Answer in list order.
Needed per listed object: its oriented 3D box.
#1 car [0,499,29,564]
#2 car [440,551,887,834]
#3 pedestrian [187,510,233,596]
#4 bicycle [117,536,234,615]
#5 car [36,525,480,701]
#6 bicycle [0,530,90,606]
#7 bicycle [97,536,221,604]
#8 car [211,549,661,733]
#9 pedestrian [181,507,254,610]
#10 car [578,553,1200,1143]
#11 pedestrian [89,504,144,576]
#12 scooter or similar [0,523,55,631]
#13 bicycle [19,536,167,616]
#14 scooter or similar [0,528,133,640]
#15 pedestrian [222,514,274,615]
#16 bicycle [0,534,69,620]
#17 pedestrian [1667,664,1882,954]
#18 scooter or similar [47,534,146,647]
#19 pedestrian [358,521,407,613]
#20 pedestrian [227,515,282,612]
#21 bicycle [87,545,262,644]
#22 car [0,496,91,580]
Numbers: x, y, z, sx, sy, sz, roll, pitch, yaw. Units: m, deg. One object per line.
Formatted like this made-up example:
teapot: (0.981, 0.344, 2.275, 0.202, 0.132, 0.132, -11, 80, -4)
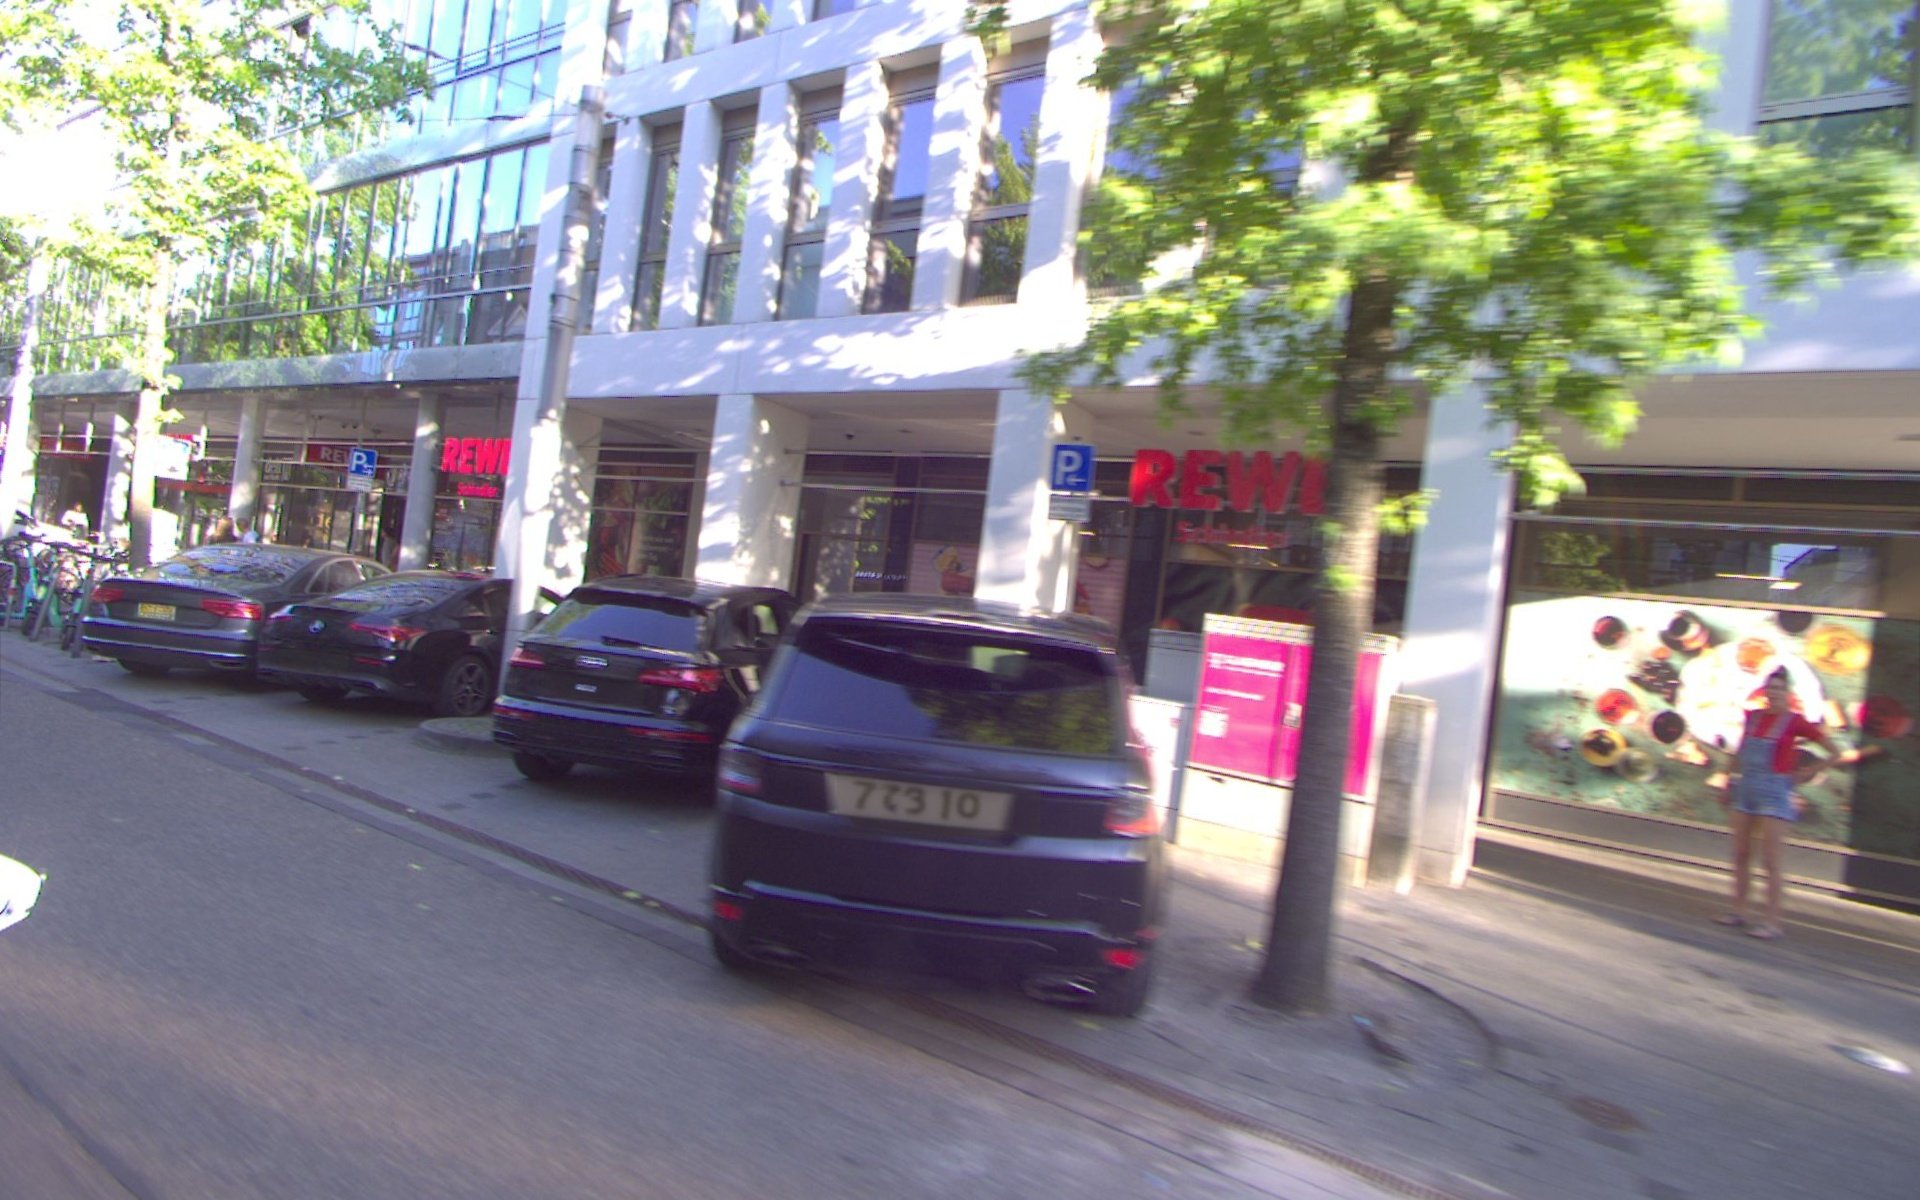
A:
car: (-23.823, -1.745, 22.526, 1.656, 1.518, 4.160, 6, 0, 9)
car: (-2.211, 0.641, 9.123, 1.970, 1.676, 4.668, 7, 0, 8)
pedestrian: (-16.211, -1.006, 21.747, 0.516, 1.773, 0.557, 7, 2, 32)
bicycle: (-13.148, -0.408, 16.910, 0.852, 1.188, 1.269, 7, 2, 1)
car: (-7.912, 0.088, 12.148, 1.941, 1.488, 5.056, 6, 1, -3)
bicycle: (-14.624, -0.494, 15.594, 0.620, 1.120, 1.694, 6, 1, 6)
bicycle: (-14.515, -0.519, 18.296, 0.620, 1.120, 1.778, 6, 1, 7)
car: (-5.441, 0.410, 11.338, 1.897, 1.444, 4.668, 6, 0, 11)
pedestrian: (-13.226, -0.722, 17.927, 0.540, 1.716, 0.681, 7, -1, 20)
car: (-0.136, 0.832, 5.743, 1.957, 1.786, 4.666, 6, 1, 3)
pedestrian: (-20.940, -1.488, 24.984, 0.868, 1.644, 0.714, 7, 1, 33)
scooter or similar: (-12.202, -0.313, 12.936, 1.285, 1.293, 0.451, 7, 3, 31)
bicycle: (-13.368, -0.363, 15.585, 0.719, 1.089, 1.673, 7, 2, 2)
scooter or similar: (-11.268, -0.204, 12.667, 0.554, 1.293, 1.305, 5, 2, 1)
pedestrian: (-13.103, -0.646, 18.517, 0.550, 1.773, 0.523, 7, 2, 34)
bicycle: (-13.446, -0.339, 13.847, 0.853, 1.102, 1.562, 7, 2, 2)
pedestrian: (5.746, 1.431, 7.123, 0.746, 1.841, 0.798, 5, 1, -25)
scooter or similar: (-10.540, -0.140, 12.317, 0.452, 1.293, 1.300, 4, 2, -21)
pedestrian: (-12.712, -0.719, 22.139, 0.653, 1.943, 0.583, 7, 2, 34)
pedestrian: (-13.116, -0.676, 18.700, 0.542, 1.716, 0.517, 7, -1, 37)
bicycle: (-10.668, -0.071, 13.695, 1.816, 1.122, 0.551, 6, 2, -4)
car: (-19.937, -1.333, 19.876, 1.820, 1.591, 4.157, 7, 0, -1)
